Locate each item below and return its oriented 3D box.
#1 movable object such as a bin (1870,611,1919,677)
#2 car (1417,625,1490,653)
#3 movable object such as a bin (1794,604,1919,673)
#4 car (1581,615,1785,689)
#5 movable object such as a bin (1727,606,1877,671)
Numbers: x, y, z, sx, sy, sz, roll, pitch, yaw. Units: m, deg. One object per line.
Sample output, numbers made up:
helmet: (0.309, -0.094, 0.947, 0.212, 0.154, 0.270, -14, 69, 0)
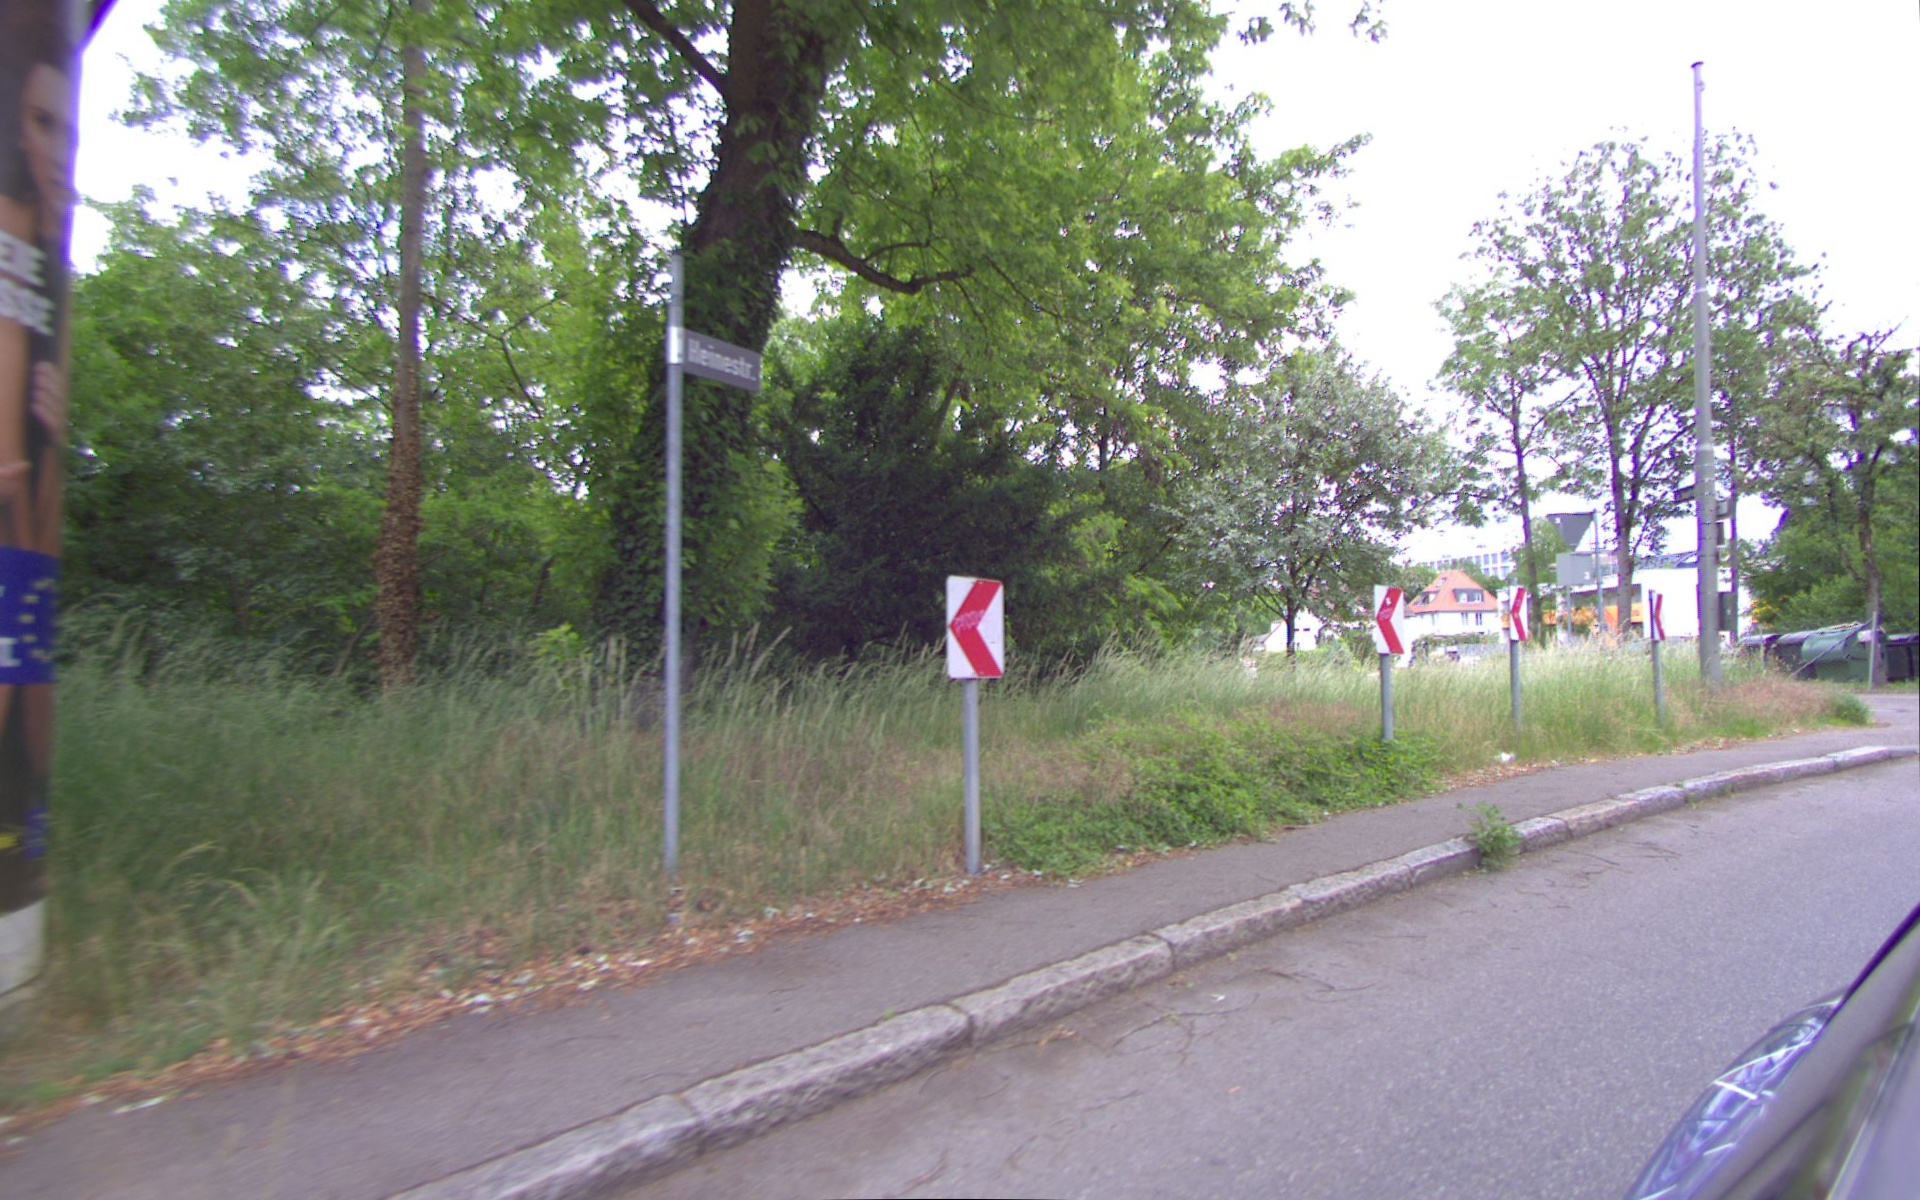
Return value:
movable object such as a bin: (26.688, 1.149, 27.286, 2.168, 1.755, 2.233, -2, -2, 3)
car: (70.155, 5.556, 144.017, 8.138, 3.427, 3.995, -3, -3, 7)
movable object such as a bin: (21.492, 0.923, 24.294, 1.643, 1.568, 1.425, -1, -2, 0)
car: (16.902, 1.291, 23.900, 1.795, 1.417, 3.671, -2, -7, -6)
movable object such as a bin: (22.040, 1.008, 26.622, 1.419, 1.568, 2.896, -1, -2, 0)
